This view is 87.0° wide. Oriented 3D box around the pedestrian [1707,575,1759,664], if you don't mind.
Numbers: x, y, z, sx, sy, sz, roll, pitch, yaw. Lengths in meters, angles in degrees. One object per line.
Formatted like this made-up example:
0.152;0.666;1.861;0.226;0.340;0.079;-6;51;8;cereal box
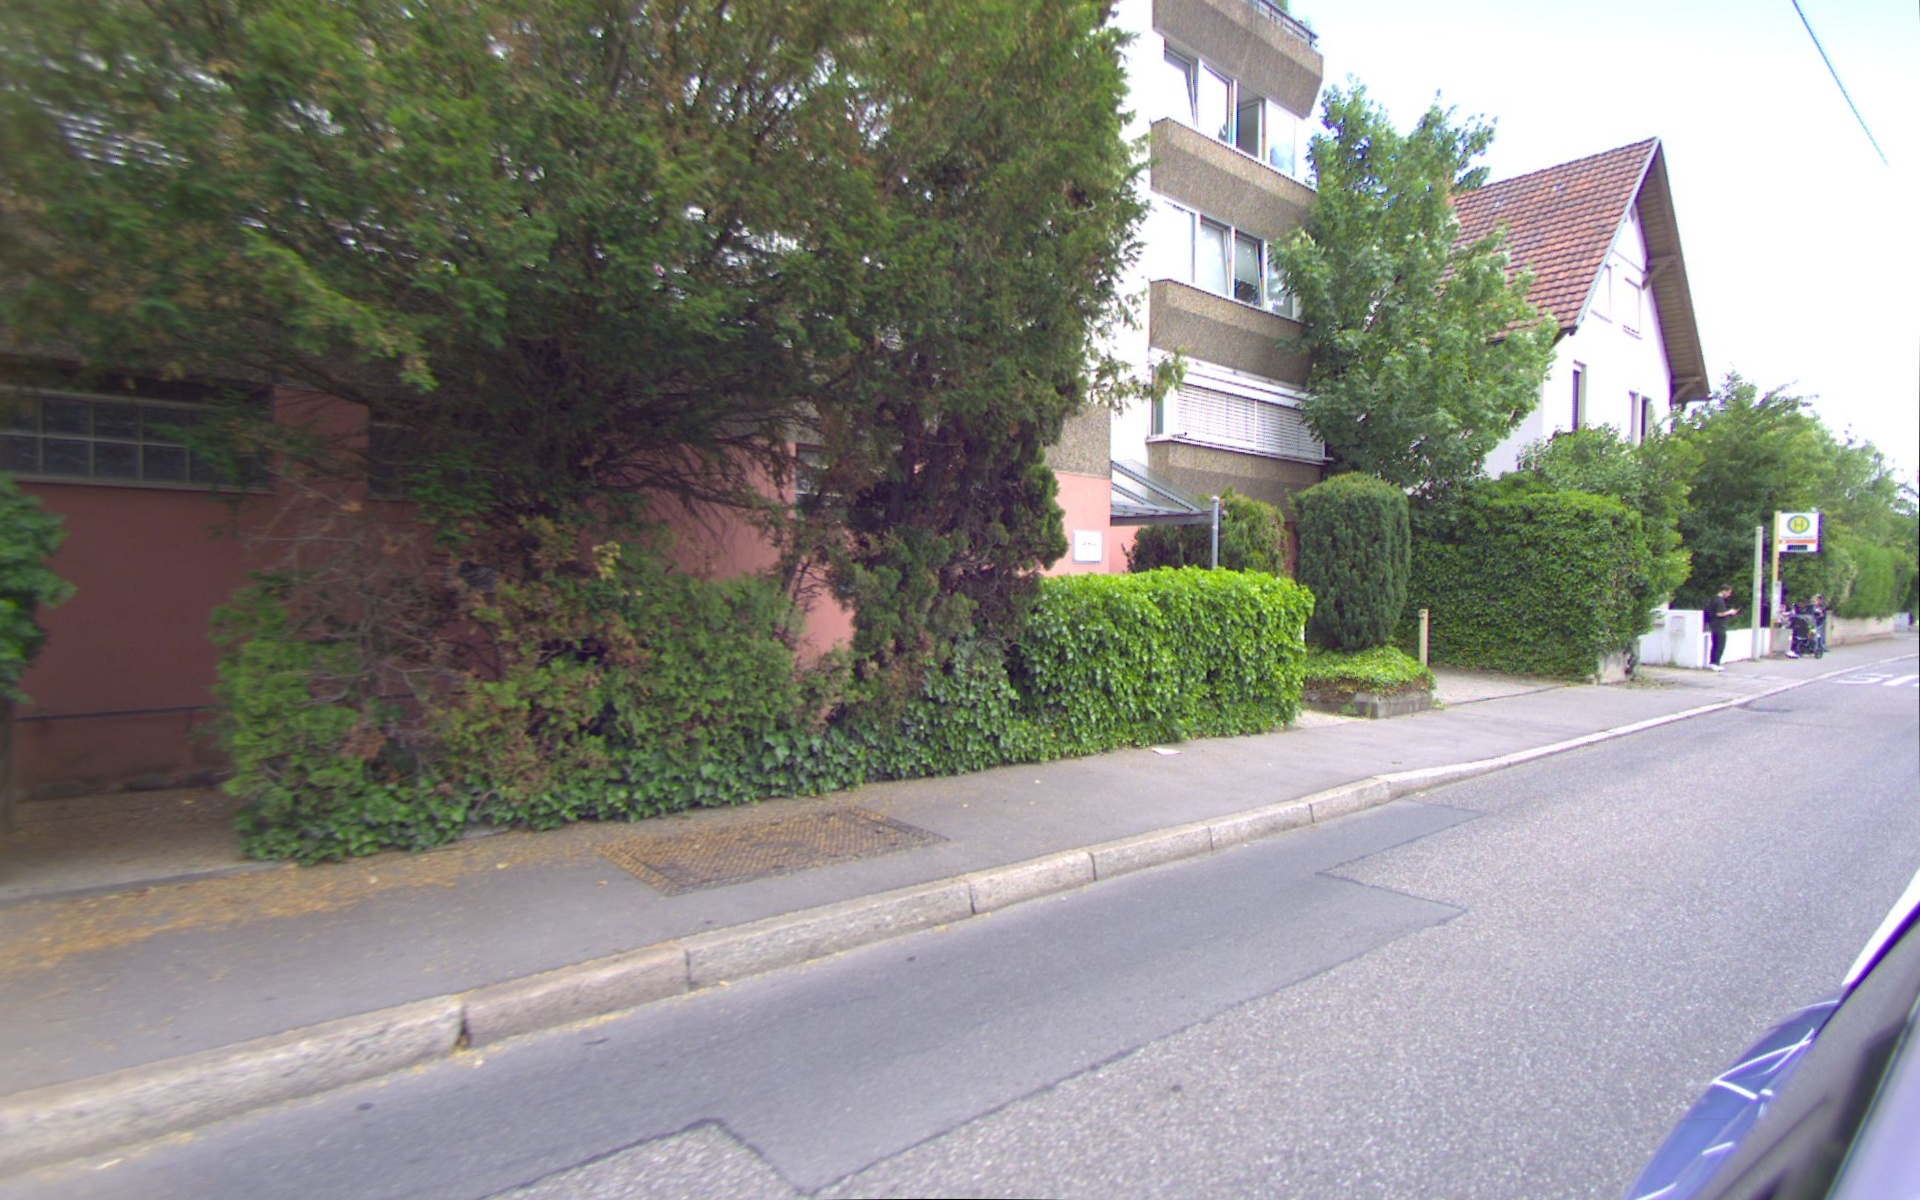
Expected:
15.872;0.394;20.786;0.657;1.789;0.491;-1;0;-9;pedestrian

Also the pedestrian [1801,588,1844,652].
22.078;0.494;25.909;0.736;1.553;0.661;-1;4;-42;pedestrian

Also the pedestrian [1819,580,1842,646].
23.944;0.341;27.834;0.344;1.776;0.489;5;4;45;pedestrian

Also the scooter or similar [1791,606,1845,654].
21.470;0.740;25.331;0.842;1.110;0.479;3;3;2;scooter or similar

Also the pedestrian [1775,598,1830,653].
20.628;0.610;24.785;0.914;1.267;0.777;5;4;44;pedestrian
